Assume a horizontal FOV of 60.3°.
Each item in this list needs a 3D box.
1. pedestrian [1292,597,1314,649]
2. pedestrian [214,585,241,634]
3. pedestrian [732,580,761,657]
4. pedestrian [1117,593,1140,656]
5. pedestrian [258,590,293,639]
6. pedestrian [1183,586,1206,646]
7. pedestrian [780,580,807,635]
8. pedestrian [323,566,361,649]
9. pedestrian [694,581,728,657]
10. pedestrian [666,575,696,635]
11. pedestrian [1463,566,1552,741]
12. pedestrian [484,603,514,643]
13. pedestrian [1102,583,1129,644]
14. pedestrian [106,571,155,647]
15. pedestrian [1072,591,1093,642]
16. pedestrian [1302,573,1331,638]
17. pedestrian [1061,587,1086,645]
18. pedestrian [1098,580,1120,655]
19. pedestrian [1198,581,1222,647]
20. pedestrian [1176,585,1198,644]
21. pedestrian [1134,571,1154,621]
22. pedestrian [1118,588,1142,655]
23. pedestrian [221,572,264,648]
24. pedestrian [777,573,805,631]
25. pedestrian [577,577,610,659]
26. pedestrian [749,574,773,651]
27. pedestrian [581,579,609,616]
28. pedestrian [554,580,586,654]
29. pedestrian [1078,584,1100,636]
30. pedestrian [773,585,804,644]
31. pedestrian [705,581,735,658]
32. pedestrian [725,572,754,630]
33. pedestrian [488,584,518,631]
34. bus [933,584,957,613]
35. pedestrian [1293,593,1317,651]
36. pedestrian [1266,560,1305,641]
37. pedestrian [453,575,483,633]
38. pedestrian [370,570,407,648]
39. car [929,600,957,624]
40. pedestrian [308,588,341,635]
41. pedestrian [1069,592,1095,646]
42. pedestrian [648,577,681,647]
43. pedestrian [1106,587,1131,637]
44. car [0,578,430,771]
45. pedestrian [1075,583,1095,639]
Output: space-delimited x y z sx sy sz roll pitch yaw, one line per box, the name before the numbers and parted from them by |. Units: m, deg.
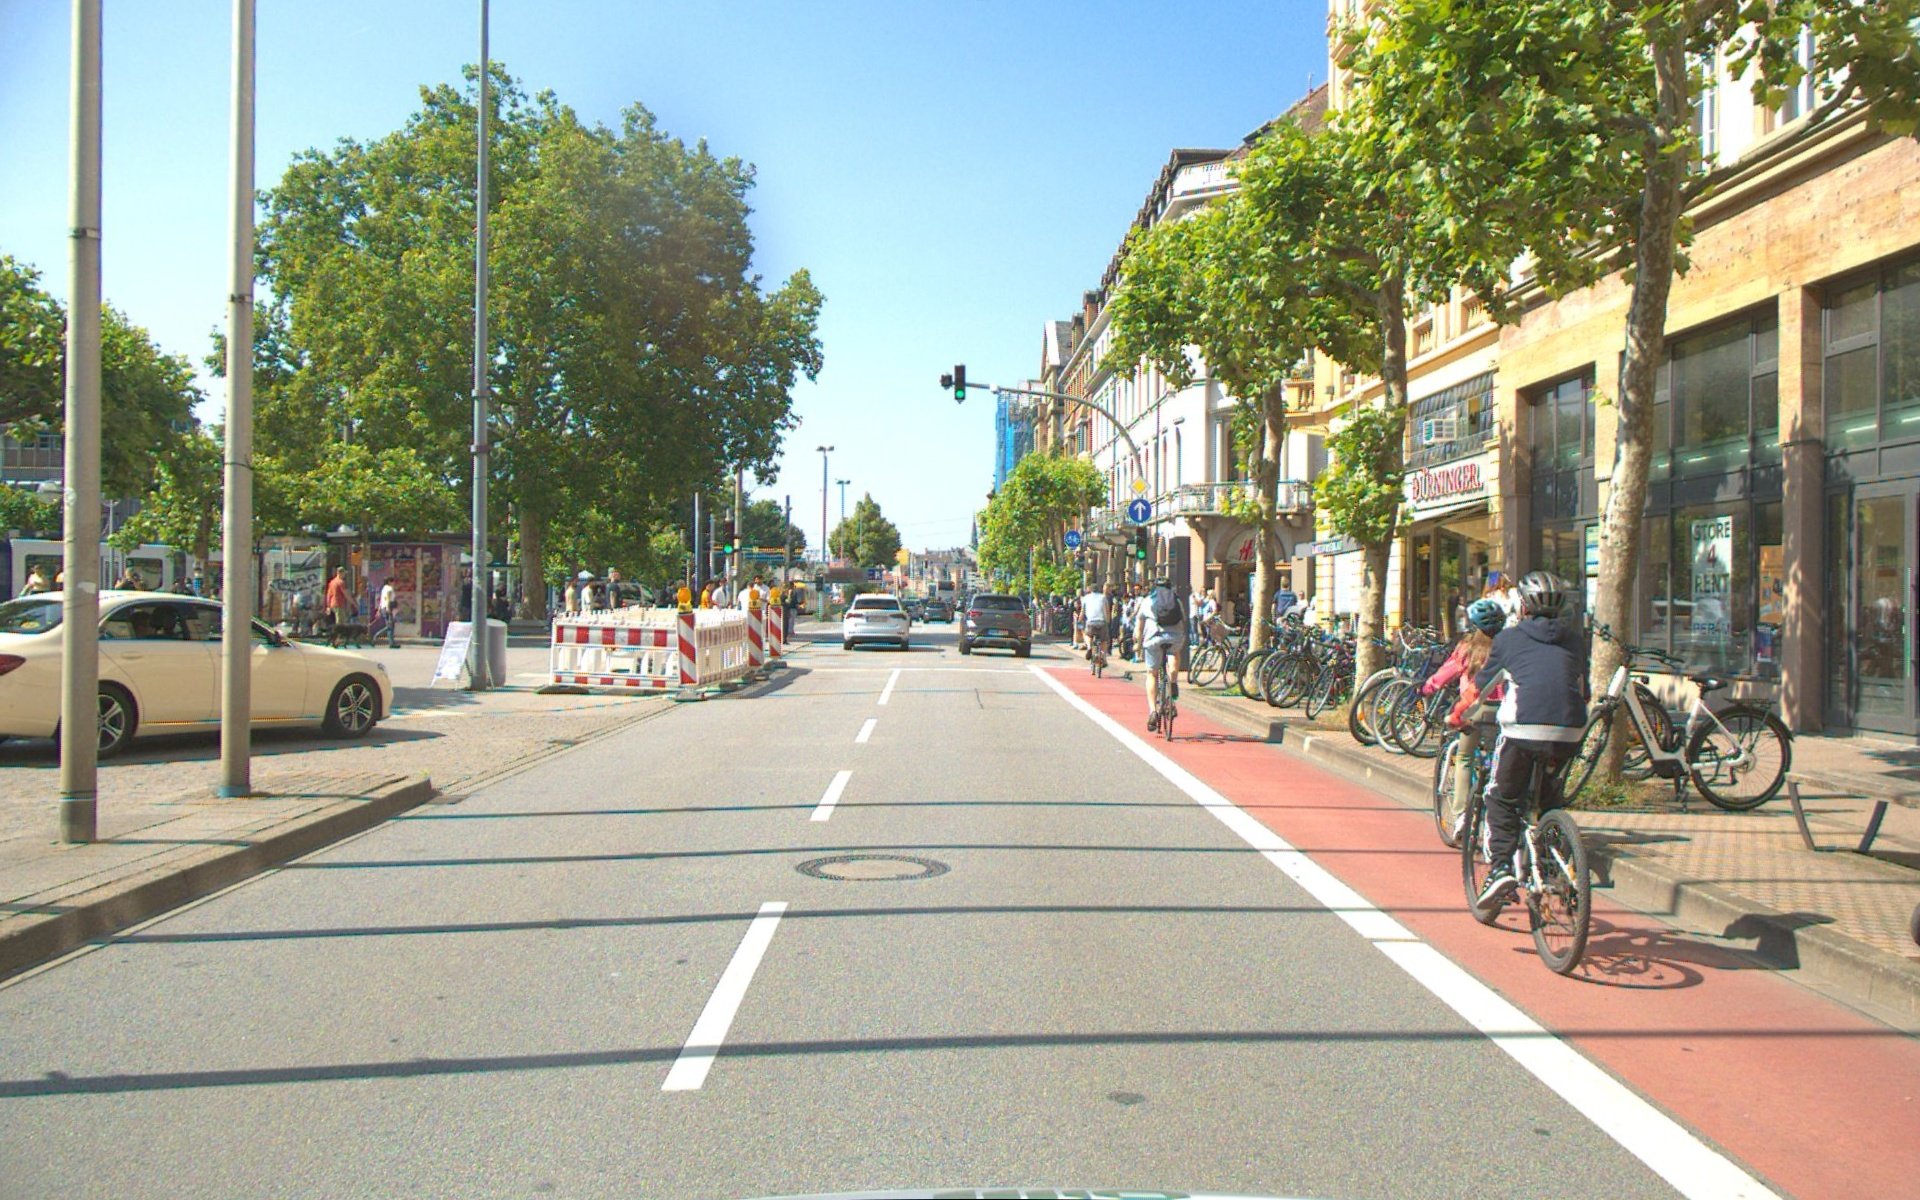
pedestrian | 11.048 0.742 53.329 0.529 1.662 0.677 1 -1 -3
pedestrian | -19.292 0.257 43.575 0.601 1.284 0.609 1 0 -23
pedestrian | -4.940 0.426 38.240 0.425 1.770 0.600 2 -1 -32
pedestrian | 4.161 0.601 40.924 0.512 1.548 0.641 -1 -1 2
pedestrian | -18.189 0.393 43.955 0.600 1.284 0.609 0 0 35
pedestrian | 6.538 0.442 46.114 0.512 1.637 0.641 -1 -1 -1
pedestrian | -5.685 0.267 56.555 0.620 1.866 0.730 0 -1 28
pedestrian | -14.443 0.171 38.651 0.656 1.912 0.624 2 -1 -34
pedestrian | -5.812 0.432 38.597 0.534 1.748 0.600 2 -1 -32
pedestrian | -8.711 0.150 51.675 0.619 1.842 0.731 0 -1 20
pedestrian | 5.282 0.504 15.991 0.602 1.640 0.745 1 0 0
pedestrian | -15.191 0.749 54.512 0.619 1.315 0.731 0 -1 20
pedestrian | 4.704 0.411 50.072 0.598 1.790 0.677 -4 0 -3
pedestrian | -19.743 0.216 39.368 0.593 1.780 0.802 1 -1 30
pedestrian | 4.136 0.561 56.007 0.571 1.703 0.605 -3 0 -3
pedestrian | 10.089 0.157 46.867 0.579 1.833 0.547 -1 -1 45
pedestrian | 3.543 0.498 51.794 0.598 1.770 0.677 -4 0 -3
pedestrian | 3.910 0.460 43.397 0.512 1.931 0.641 -1 -1 2
pedestrian | 6.431 0.354 42.578 0.537 1.668 0.589 -1 -1 2
pedestrian | 6.475 0.413 47.146 0.512 1.640 0.641 -1 -1 -1
pedestrian | 6.765 -0.130 60.815 0.662 1.823 0.612 0 0 -1
pedestrian | 4.284 0.543 41.615 0.537 1.659 0.589 -1 -1 2
pedestrian | -14.900 0.211 34.359 0.564 1.559 0.606 2 -1 5
pedestrian | -5.413 0.066 52.917 0.619 1.825 0.731 0 -1 20
pedestrian | -8.739 0.425 39.484 0.564 1.924 0.653 2 -1 1
pedestrian | -5.076 0.314 42.173 0.521 1.953 0.560 1 -1 1
pedestrian | -11.752 -0.076 53.266 0.619 1.164 0.665 0 -1 20
pedestrian | -9.532 0.417 40.467 0.572 1.751 0.790 1 3 1
pedestrian | 4.311 0.343 55.257 0.571 1.703 0.605 -3 0 -3
pedestrian | -4.779 0.400 46.097 0.619 1.623 0.687 0 -1 20
pedestrian | -5.712 0.467 39.435 0.528 1.810 0.606 2 -1 5
pedestrian | -7.281 0.026 54.535 0.620 1.891 0.730 0 -1 28
pedestrian | -14.791 0.232 53.556 0.619 1.504 0.731 0 -1 20
bus | -1.955 -0.167 215.923 2.934 3.657 11.740 1 0 -2
pedestrian | 11.105 0.705 53.208 0.598 1.838 0.677 1 -1 -3
pedestrian | 7.496 0.026 38.102 0.644 1.821 1.232 0 -2 -1
pedestrian | -16.017 0.119 53.831 0.619 1.841 0.615 -4 -2 19
pedestrian | -13.182 0.214 38.147 0.564 1.769 0.606 2 -1 5
car | -1.330 0.920 127.790 1.809 1.697 3.995 2 0 -6
pedestrian | -17.301 0.310 45.030 0.599 1.284 0.611 1 0 25
pedestrian | 3.607 0.550 48.920 0.598 1.541 0.677 -4 0 -3
pedestrian | -8.083 0.319 45.225 0.619 1.891 0.687 0 -1 20
pedestrian | 5.522 0.421 57.722 0.603 1.735 0.671 -1 0 -29
car | -7.591 0.637 15.917 1.854 1.569 4.856 1 -1 26
pedestrian | 4.138 0.359 54.820 0.598 1.855 0.677 1 -1 -3
